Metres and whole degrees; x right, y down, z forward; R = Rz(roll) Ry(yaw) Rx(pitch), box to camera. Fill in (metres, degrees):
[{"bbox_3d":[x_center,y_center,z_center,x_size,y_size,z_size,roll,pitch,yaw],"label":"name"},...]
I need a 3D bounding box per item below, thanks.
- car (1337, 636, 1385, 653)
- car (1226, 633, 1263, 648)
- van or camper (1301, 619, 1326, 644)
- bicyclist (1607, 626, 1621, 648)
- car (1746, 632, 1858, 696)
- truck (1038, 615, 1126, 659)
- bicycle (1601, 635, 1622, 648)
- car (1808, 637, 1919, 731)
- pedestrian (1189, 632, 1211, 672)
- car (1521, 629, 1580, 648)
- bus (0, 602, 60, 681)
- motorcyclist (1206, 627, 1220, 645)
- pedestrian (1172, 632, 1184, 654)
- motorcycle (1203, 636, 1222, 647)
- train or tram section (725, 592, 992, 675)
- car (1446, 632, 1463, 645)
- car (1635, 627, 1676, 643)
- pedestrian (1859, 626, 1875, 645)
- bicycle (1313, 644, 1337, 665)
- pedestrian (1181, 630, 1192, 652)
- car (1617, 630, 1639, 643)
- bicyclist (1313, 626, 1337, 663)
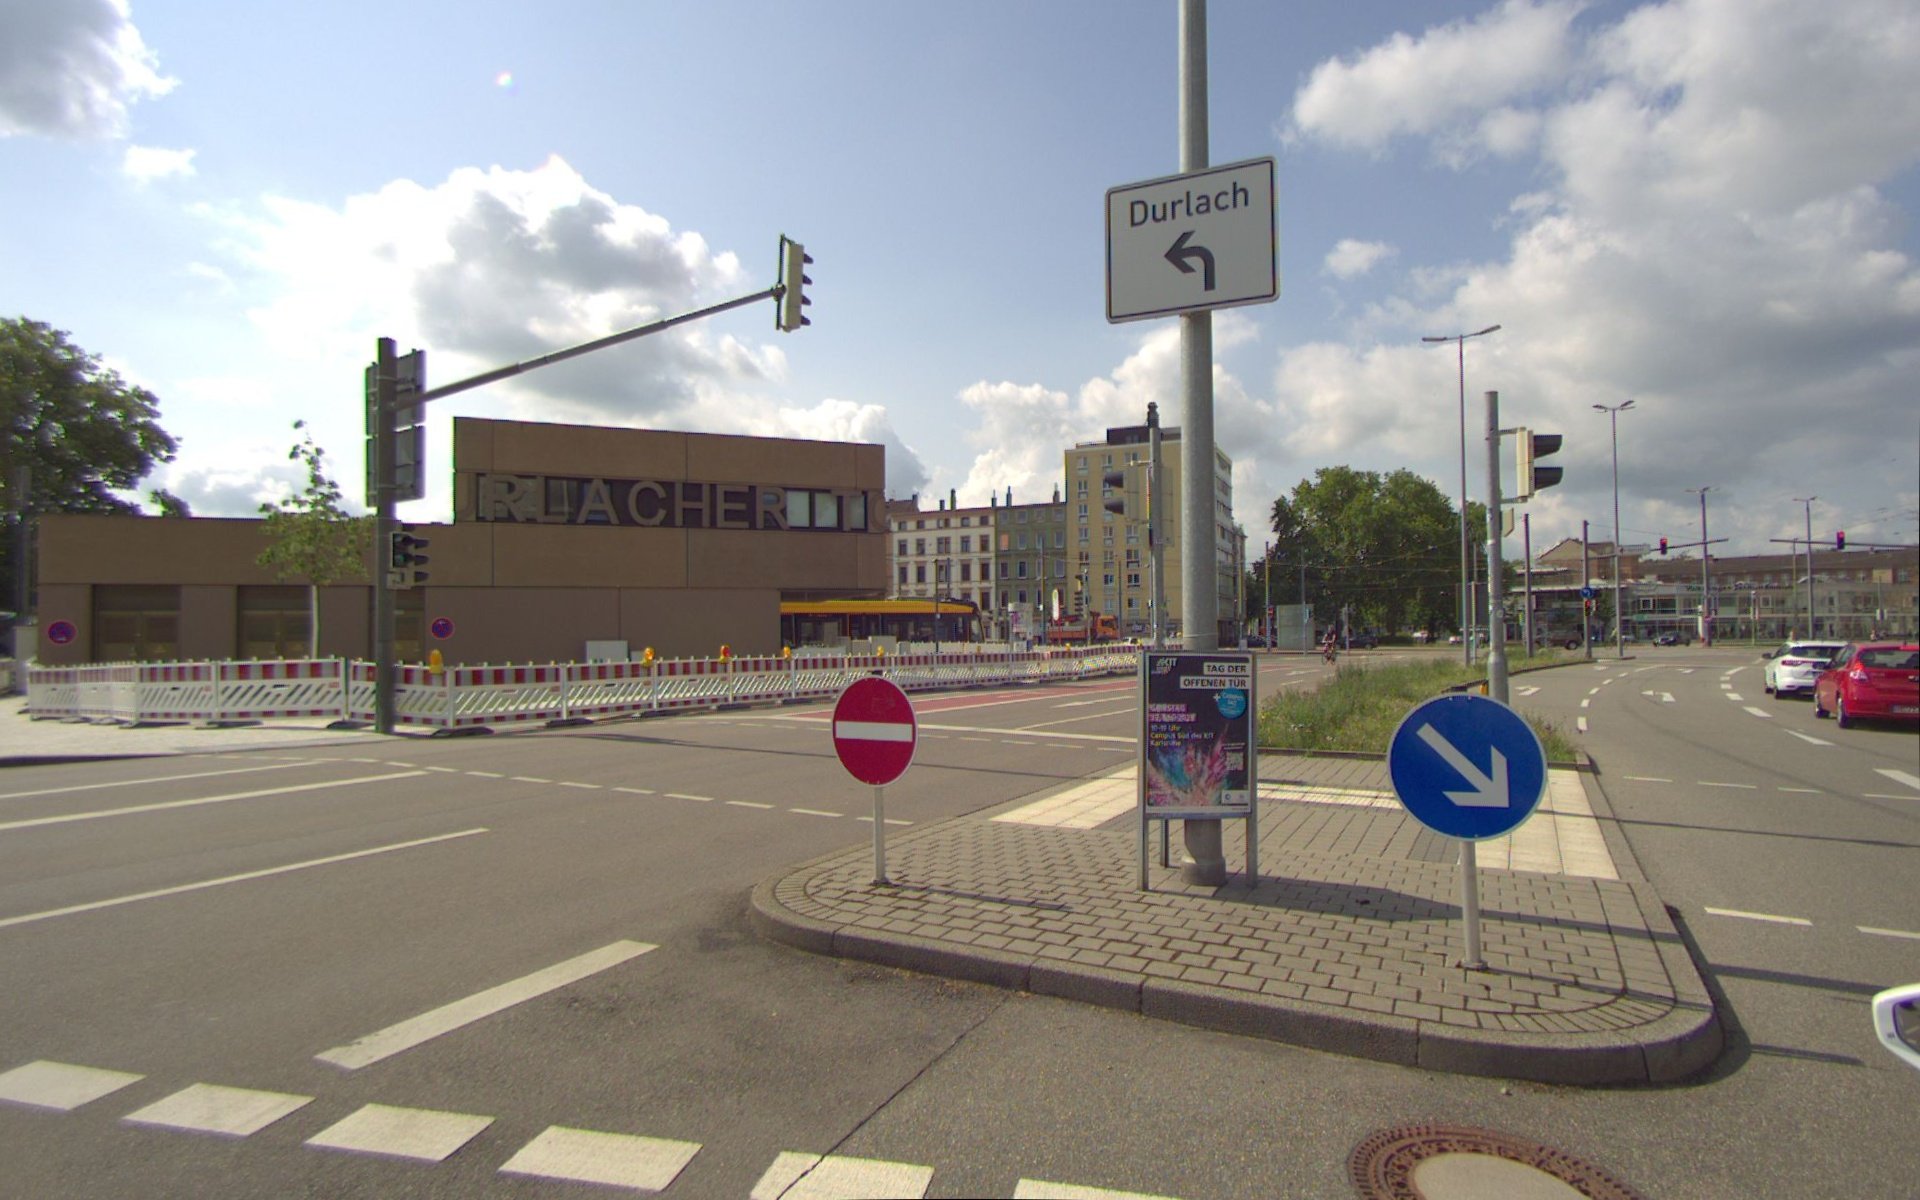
[{"bbox_3d":[36.185,3.993,90.722,4.002,1.528,1.813,0,-2,23],"label":"car"},{"bbox_3d":[32.116,4.563,113.369,3.921,1.684,2.000,-1,-2,19],"label":"car"},{"bbox_3d":[43.692,3.876,124.167,2.538,2.946,6.102,-1,-2,16],"label":"van or camper"},{"bbox_3d":[56.721,3.208,87.178,0.872,1.895,0.763,-1,-2,25],"label":"bicyclist"},{"bbox_3d":[21.248,1.569,25.502,1.824,1.491,4.320,-2,-3,36],"label":"car"},{"bbox_3d":[11.230,3.423,92.640,7.787,3.906,2.200,-1,-2,23],"label":"truck"},{"bbox_3d":[56.560,3.584,87.252,1.442,1.131,0.587,-1,-2,25],"label":"bicycle"},{"bbox_3d":[16.326,1.410,17.737,1.793,1.458,4.052,0,-2,37],"label":"car"},{"bbox_3d":[10.144,2.190,42.494,0.726,1.703,0.639,-2,-2,35],"label":"pedestrian"},{"bbox_3d":[49.222,3.208,83.765,4.003,1.528,1.813,-1,-2,23],"label":"car"},{"bbox_3d":[-45.448,1.763,41.472,11.902,3.305,2.978,1,-2,-23],"label":"bus"},{"bbox_3d":[25.070,3.560,99.544,0.878,1.805,1.235,-2,-3,43],"label":"motorcyclist"},{"bbox_3d":[18.903,3.751,86.949,0.690,1.884,0.815,-2,-2,39],"label":"pedestrian"},{"bbox_3d":[24.961,4.112,99.400,0.773,1.130,2.421,-2,-3,43],"label":"motorcycle"},{"bbox_3d":[-4.624,1.545,47.197,12.234,3.619,2.654,0,-2,-23],"label":"train or tram section"},{"bbox_3d":[71.114,5.484,144.363,1.773,1.792,3.990,-2,-3,33],"label":"car"},{"bbox_3d":[67.983,3.388,98.174,3.958,1.550,1.982,1,-2,-34],"label":"car"},{"bbox_3d":[75.465,2.932,83.571,0.662,1.556,0.674,0,-2,-1],"label":"pedestrian"},{"bbox_3d":[18.332,2.708,50.369,0.608,1.015,2.011,-1,-2,36],"label":"bicycle"},{"bbox_3d":[19.489,3.537,86.509,0.642,1.892,0.778,-2,-2,39],"label":"pedestrian"},{"bbox_3d":[87.216,4.766,131.126,1.963,1.617,3.995,-1,-2,27],"label":"car"},{"bbox_3d":[18.318,2.239,50.413,0.800,1.846,1.155,-1,-2,37],"label":"bicyclist"}]
